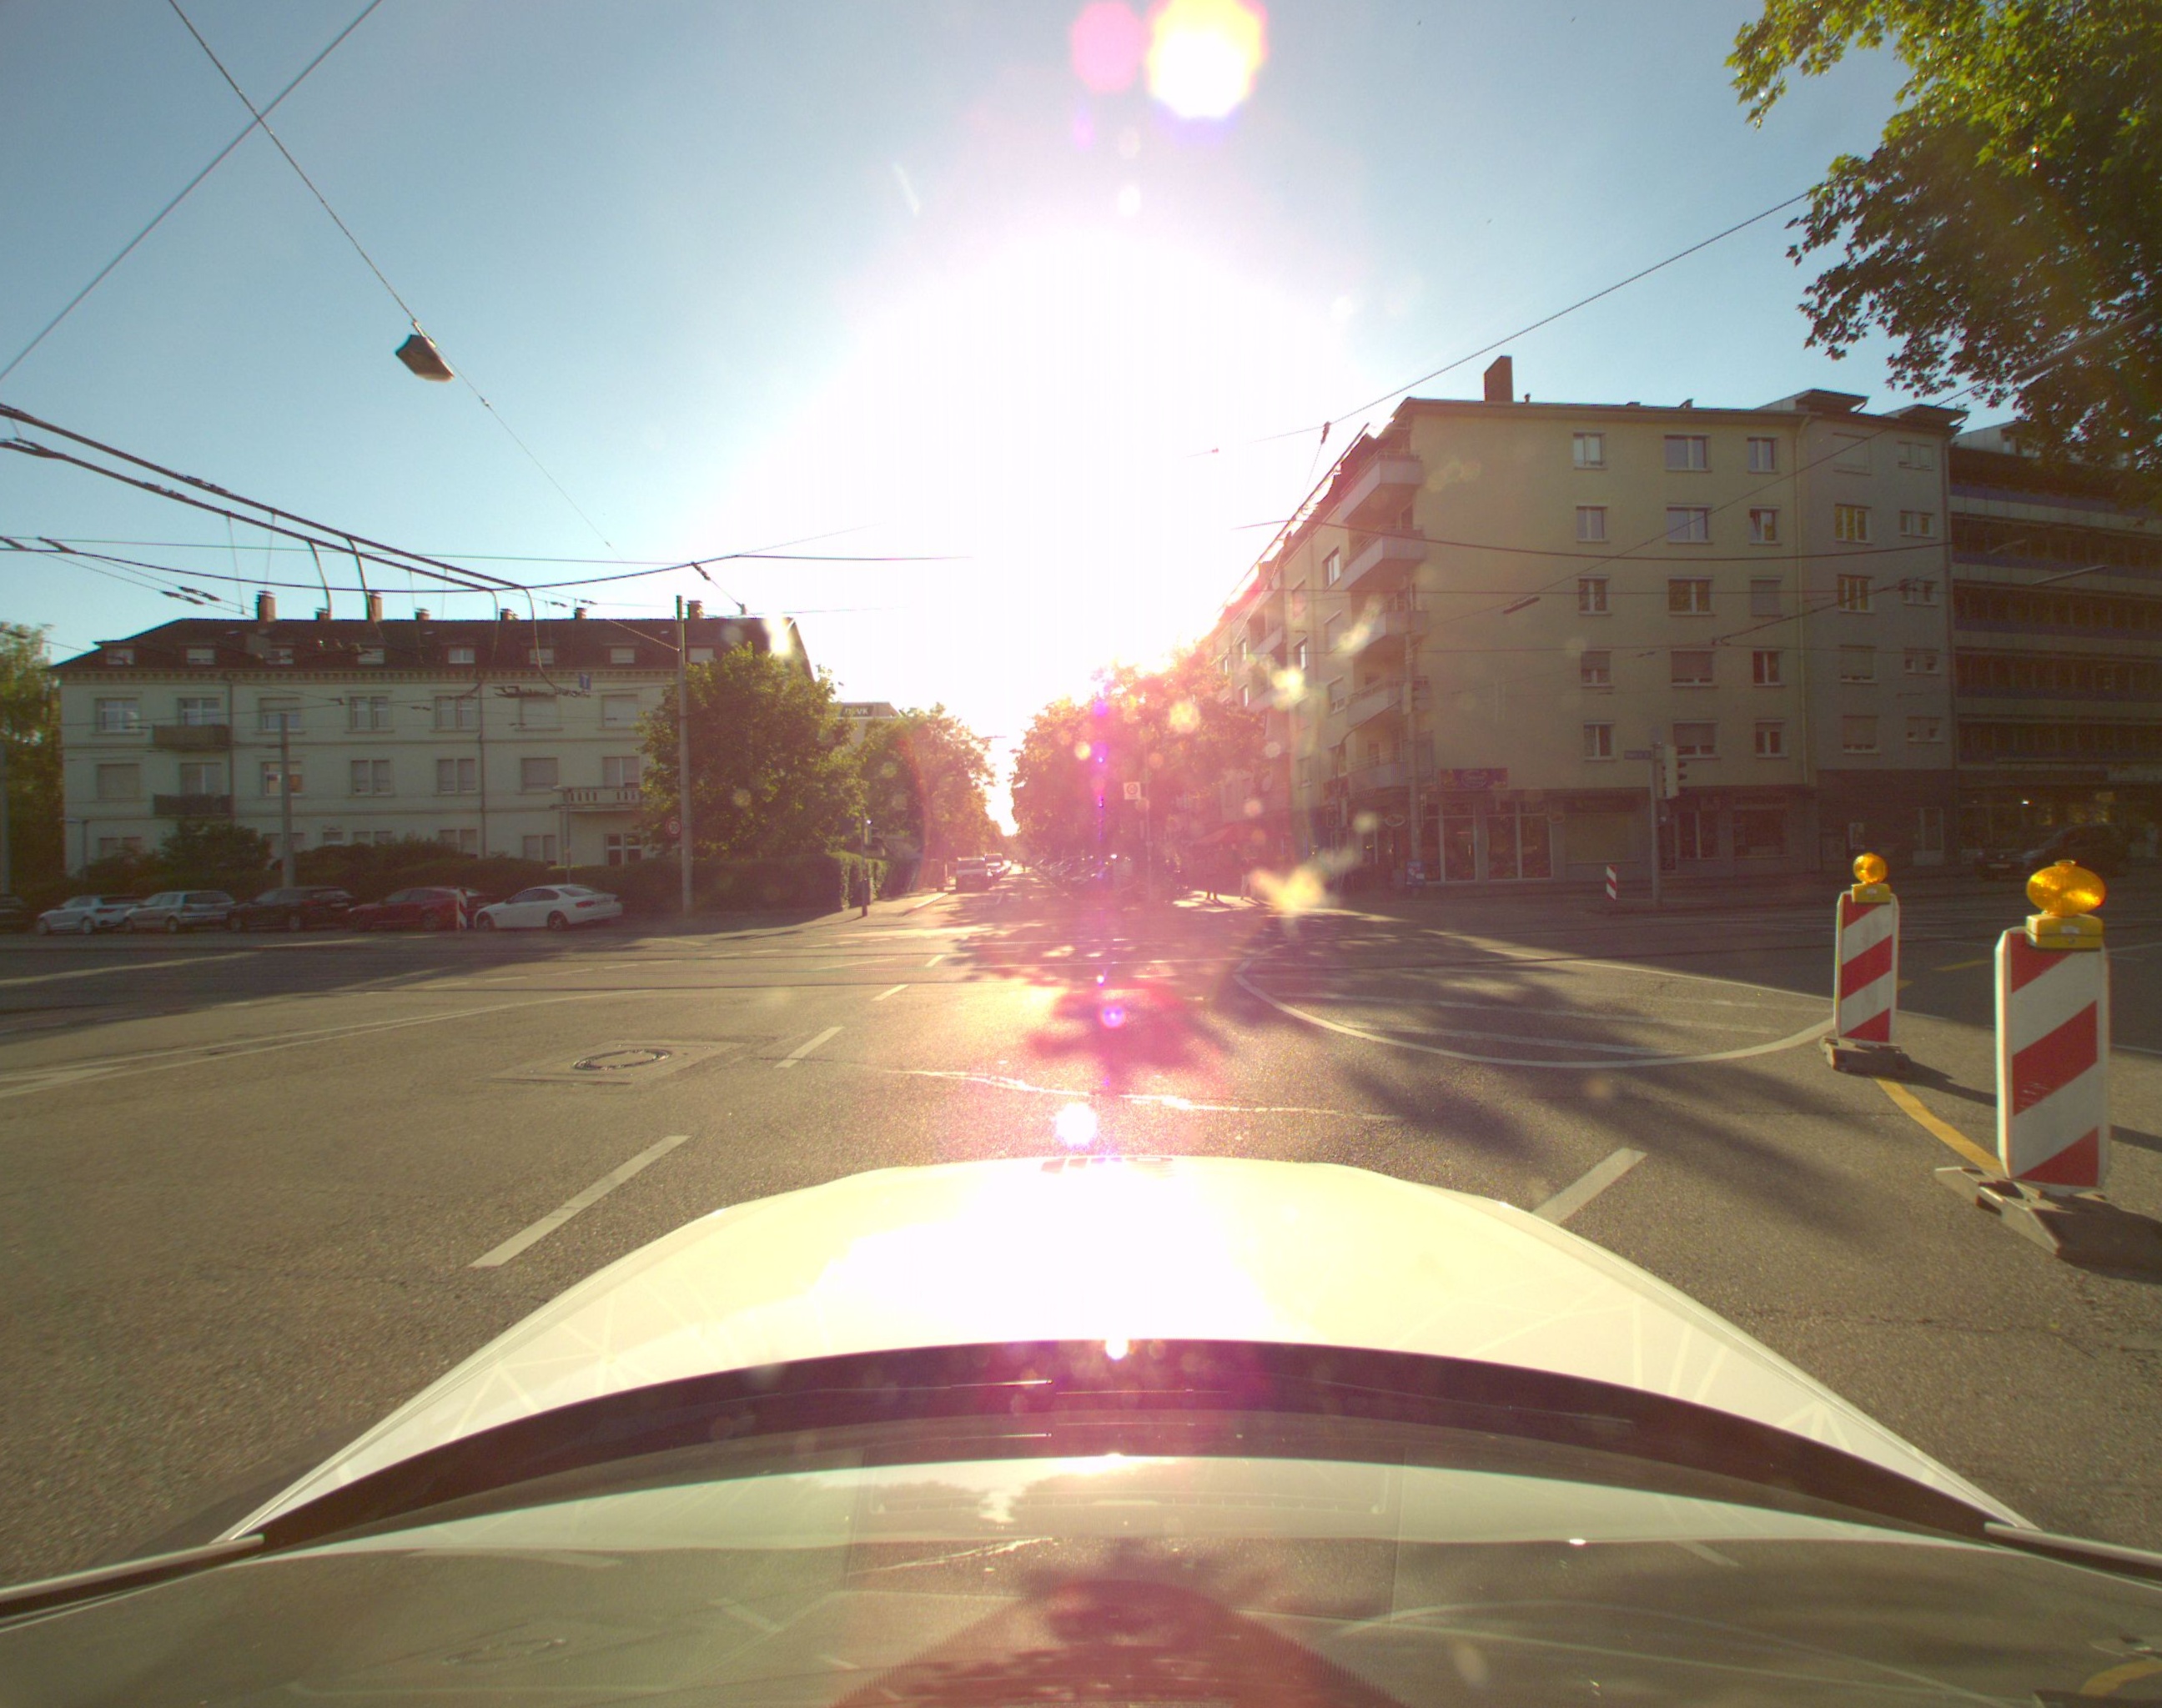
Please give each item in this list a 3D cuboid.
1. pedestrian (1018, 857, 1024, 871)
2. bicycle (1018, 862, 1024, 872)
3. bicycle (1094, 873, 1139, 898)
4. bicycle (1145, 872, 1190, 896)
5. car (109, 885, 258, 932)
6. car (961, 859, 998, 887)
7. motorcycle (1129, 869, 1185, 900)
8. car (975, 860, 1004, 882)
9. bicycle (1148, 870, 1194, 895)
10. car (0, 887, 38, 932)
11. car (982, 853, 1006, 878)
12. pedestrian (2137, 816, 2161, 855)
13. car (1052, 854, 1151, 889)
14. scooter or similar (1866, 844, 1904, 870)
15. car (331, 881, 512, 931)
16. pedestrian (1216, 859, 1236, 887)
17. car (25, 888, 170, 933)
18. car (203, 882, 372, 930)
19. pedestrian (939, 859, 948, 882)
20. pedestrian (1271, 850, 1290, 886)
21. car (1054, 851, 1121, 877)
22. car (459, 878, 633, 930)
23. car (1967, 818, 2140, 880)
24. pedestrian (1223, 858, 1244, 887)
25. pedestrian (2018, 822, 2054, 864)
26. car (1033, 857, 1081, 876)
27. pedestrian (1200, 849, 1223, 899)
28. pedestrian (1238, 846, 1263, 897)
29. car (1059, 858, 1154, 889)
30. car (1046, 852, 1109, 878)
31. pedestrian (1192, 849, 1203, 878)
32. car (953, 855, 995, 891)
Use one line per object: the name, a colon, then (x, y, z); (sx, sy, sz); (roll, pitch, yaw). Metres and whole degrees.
pedestrian: (-8.353, 1.420, 113.798); (0.736, 2.014, 0.741); (-1, -1, -7)
bicycle: (-8.377, 1.765, 113.778); (0.765, 1.324, 1.920); (-2, 0, -5)
bicycle: (1.420, 1.247, 32.808); (1.721, 0.932, 0.671); (-2, -1, -6)
bicycle: (3.530, 1.215, 33.279); (1.721, 0.932, 0.561); (-2, -1, -6)
car: (-31.998, 1.929, 29.075); (3.680, 1.447, 1.995); (-1, 2, 14)
car: (-6.920, 1.267, 55.570); (2.353, 1.795, 5.295); (-1, -1, -8)
motorcycle: (2.874, 1.139, 30.940); (1.952, 1.109, 0.834); (-2, -1, -11)
car: (-7.979, 1.449, 70.626); (2.353, 1.795, 5.295); (-1, -1, -8)
bicycle: (3.599, 1.136, 32.516); (1.721, 0.932, 0.561); (-2, -1, -6)
car: (-43.876, 2.236, 32.036); (4.324, 1.668, 1.853); (-1, 2, 14)
car: (-9.299, 1.208, 86.425); (2.353, 2.514, 5.295); (-1, -1, -8)
pedestrian: (47.046, -0.815, 35.529); (1.232, 1.662, 1.022); (-1, -1, -33)
car: (1.192, 1.064, 49.004); (5.617, 1.924, 2.355); (-1, -2, -8)
scooter or similar: (30.784, 0.126, 31.182); (1.431, 0.954, 0.464); (-2, -1, -20)
car: (-21.711, 1.700, 26.900); (4.661, 1.376, 1.993); (-2, 2, 9)
pedestrian: (7.212, 0.927, 40.562); (0.809, 1.362, 0.914); (-2, -1, 0)
car: (-36.425, 2.085, 30.197); (3.917, 1.447, 1.853); (-1, 2, 14)
car: (-27.525, 1.799, 28.283); (4.656, 1.447, 1.995); (-1, 2, 14)
pedestrian: (-10.553, 1.246, 62.497); (0.579, 1.731, 0.606); (-1, -1, -11)
pedestrian: (8.874, 0.620, 36.213); (0.619, 1.591, 0.475); (-1, -1, -22)
car: (0.517, 0.808, 65.658); (5.087, 1.924, 2.355); (-1, -2, -8)
car: (-16.736, 1.555, 25.554); (4.451, 1.376, 1.938); (-2, 2, 13)
car: (31.373, -0.176, 26.295); (4.355, 1.806, 1.905); (-2, -1, -15)
pedestrian: (7.339, 0.868, 39.241); (0.809, 1.362, 0.914); (-2, -1, 0)
pedestrian: (38.575, -0.428, 32.903); (0.622, 1.648, 0.664); (-1, -1, -4)
car: (-2.741, 1.386, 92.359); (5.087, 1.924, 2.355); (-1, -2, -8)
pedestrian: (4.681, 0.705, 29.319); (0.688, 1.750, 0.795); (-1, -1, 3)
pedestrian: (5.917, 0.614, 28.466); (0.688, 1.750, 0.841); (-1, -1, 5)
car: (1.403, 1.132, 46.424); (5.087, 1.557, 2.355); (-1, -2, -8)
car: (-0.335, 0.934, 68.812); (5.087, 1.924, 2.355); (-1, -2, -8)
pedestrian: (8.076, 0.677, 56.575); (0.536, 2.014, 0.509); (-1, -1, -13)
car: (-6.489, 1.106, 49.387); (2.353, 2.014, 5.295); (-1, -1, -8)
